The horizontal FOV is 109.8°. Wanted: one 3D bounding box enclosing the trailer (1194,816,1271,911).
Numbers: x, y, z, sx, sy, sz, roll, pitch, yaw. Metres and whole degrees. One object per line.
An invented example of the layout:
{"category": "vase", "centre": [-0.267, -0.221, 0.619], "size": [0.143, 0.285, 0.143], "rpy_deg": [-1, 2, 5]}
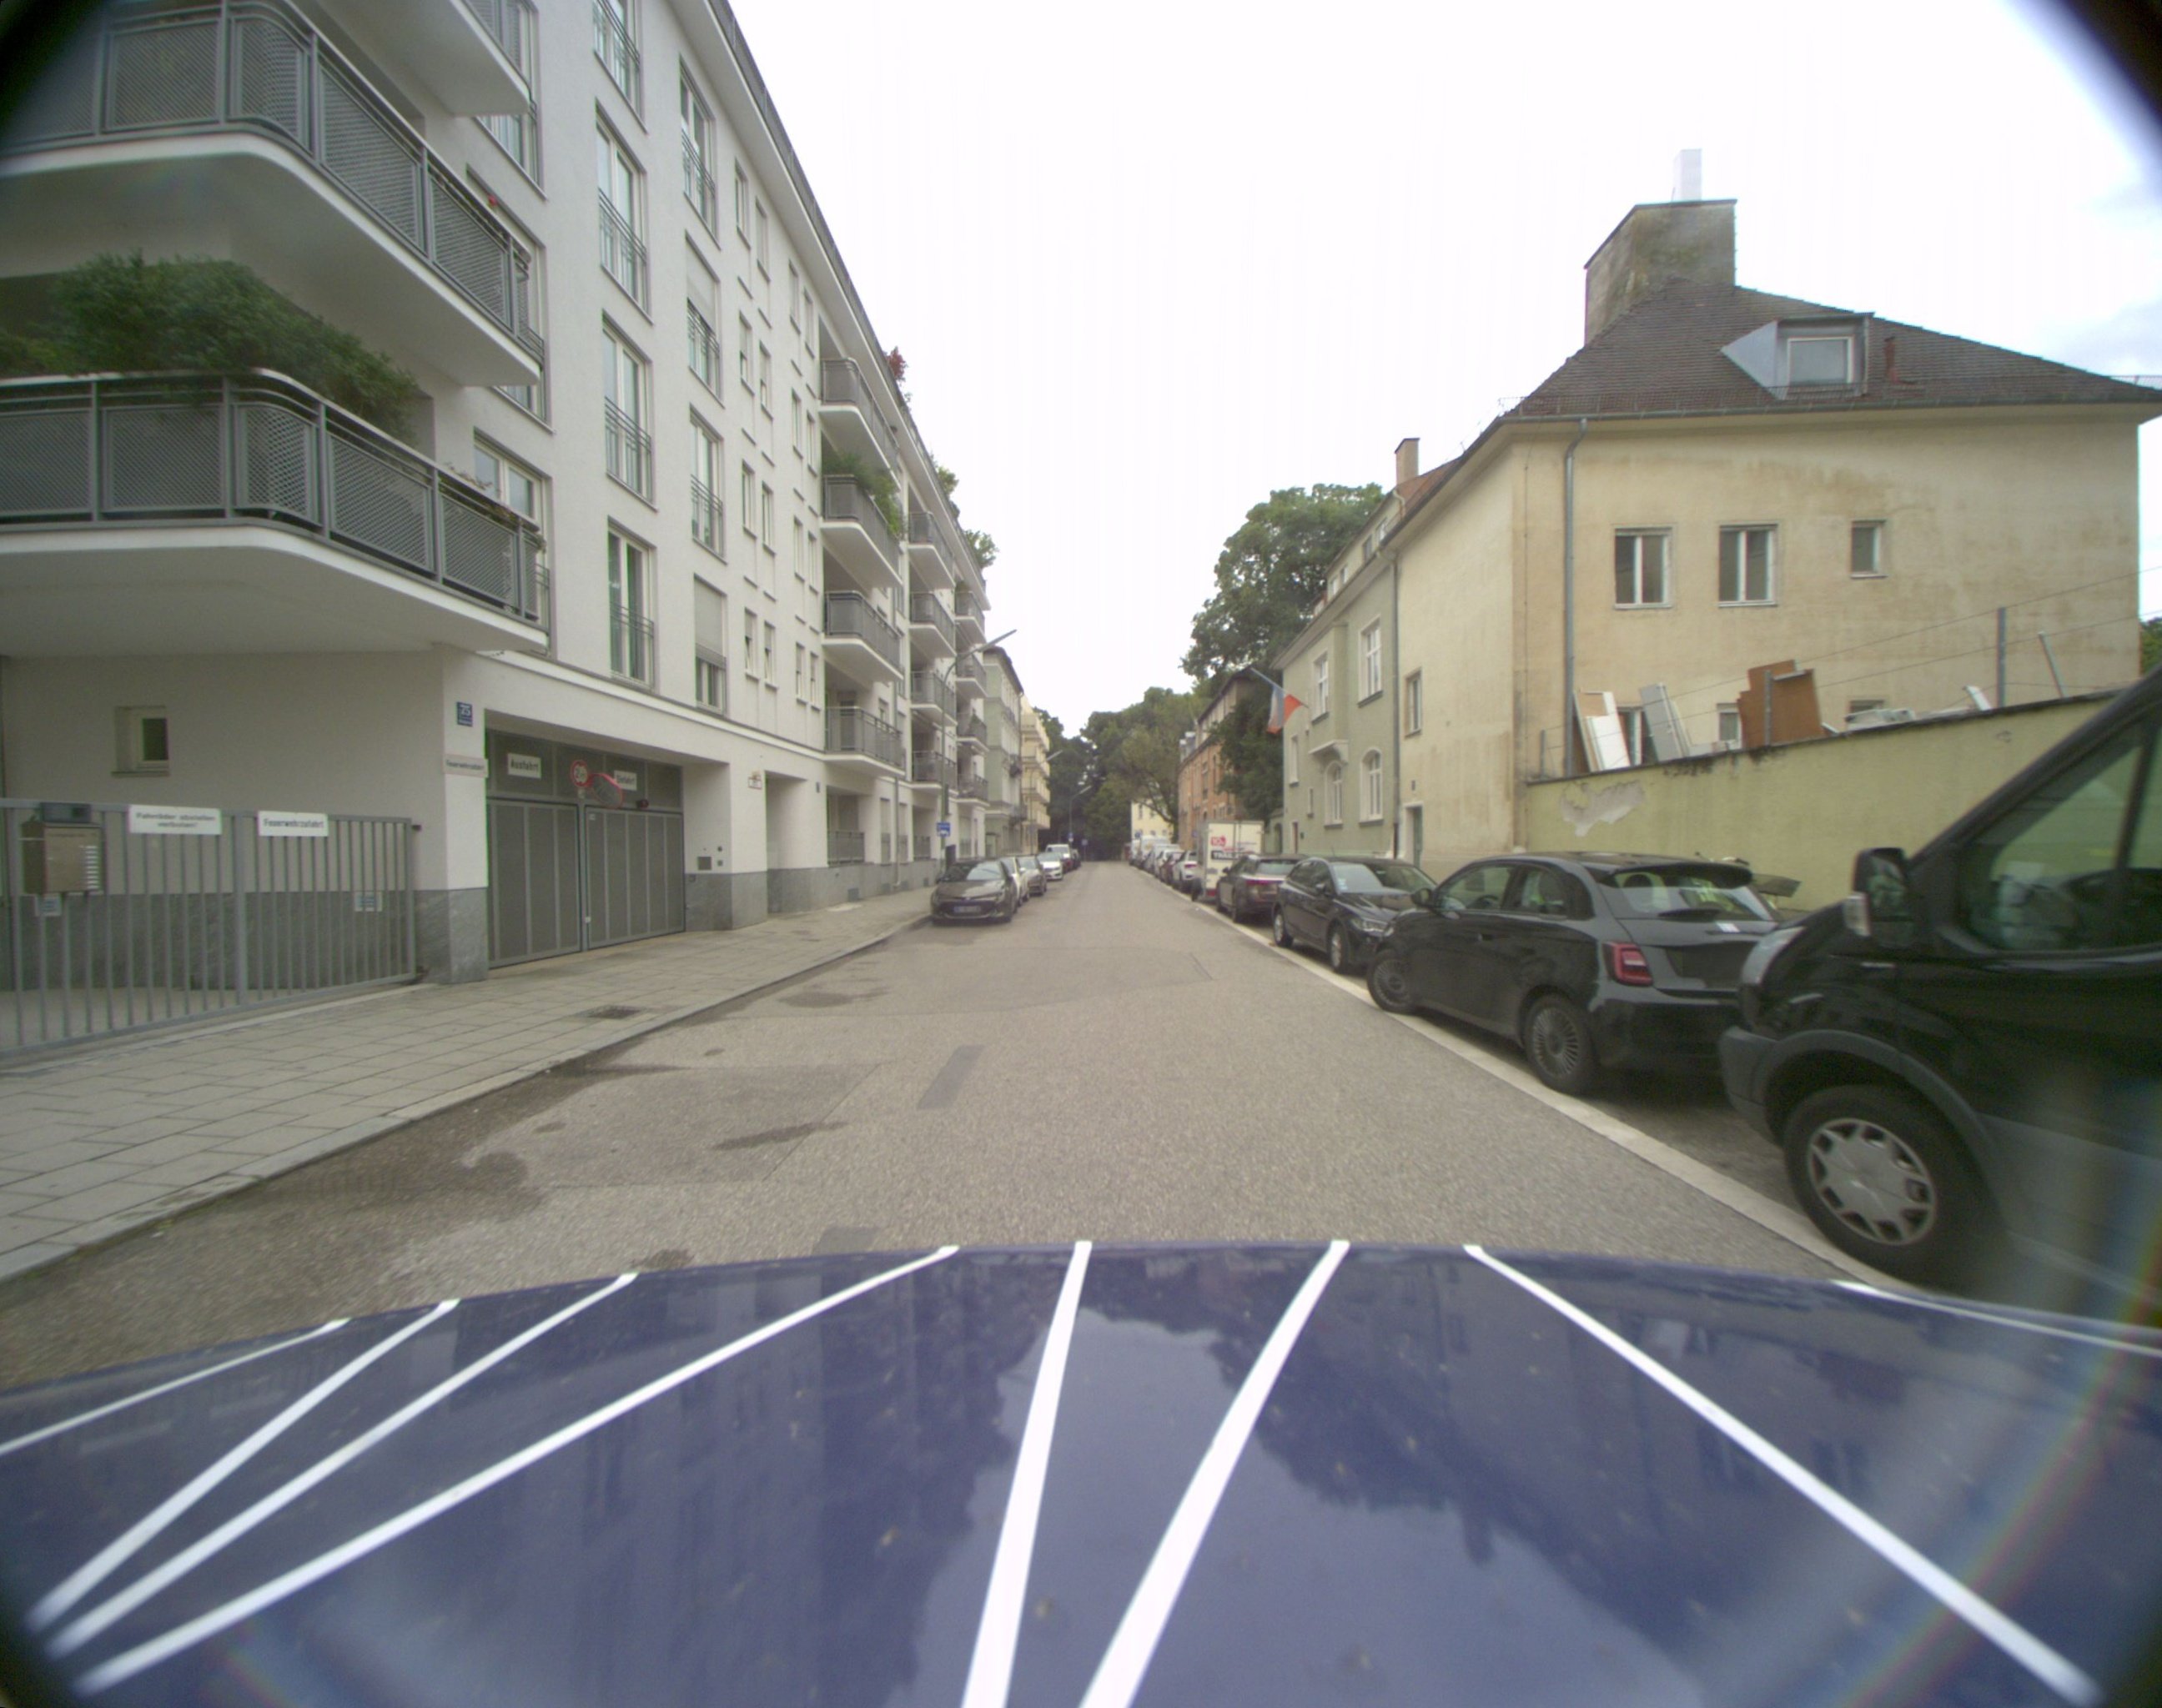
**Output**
{"category": "trailer", "centre": [4.397, 0.243, 22.546], "size": [1.817, 2.521, 3.390], "rpy_deg": [3, 1, 6]}

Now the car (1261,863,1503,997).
{"category": "car", "centre": [3.893, 0.882, 10.640], "size": [1.697, 1.417, 4.069], "rpy_deg": [0, 1, -1]}

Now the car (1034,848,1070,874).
{"category": "car", "centre": [-1.704, 0.395, 46.069], "size": [1.765, 1.449, 3.748], "rpy_deg": [-1, 1, 4]}

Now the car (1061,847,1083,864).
{"category": "car", "centre": [-0.796, 0.128, 70.509], "size": [1.871, 1.455, 4.268], "rpy_deg": [-1, 1, 2]}

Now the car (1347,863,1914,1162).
{"category": "car", "centre": [3.608, 0.873, 5.855], "size": [1.706, 1.485, 3.488], "rpy_deg": [-1, 1, -4]}

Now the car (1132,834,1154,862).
{"category": "car", "centre": [5.803, -0.543, 71.681], "size": [1.880, 2.539, 4.370], "rpy_deg": [-1, 1, 3]}

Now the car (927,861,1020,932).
{"category": "car", "centre": [-2.455, 0.918, 18.298], "size": [1.784, 1.386, 4.245], "rpy_deg": [-1, 1, -2]}

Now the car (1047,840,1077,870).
{"category": "car", "centre": [-1.313, 0.027, 54.670], "size": [1.871, 2.002, 4.268], "rpy_deg": [-1, 1, 2]}

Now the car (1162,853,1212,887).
{"category": "car", "centre": [4.559, 0.654, 33.166], "size": [1.817, 1.339, 3.746], "rpy_deg": [-1, 1, 3]}

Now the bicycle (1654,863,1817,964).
{"category": "bicycle", "centre": [8.341, 0.709, 9.794], "size": [0.580, 1.125, 1.742], "rpy_deg": [-1, 1, -1]}

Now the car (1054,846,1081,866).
{"category": "car", "centre": [-1.006, 0.104, 59.796], "size": [1.871, 1.455, 4.268], "rpy_deg": [-1, 1, 2]}

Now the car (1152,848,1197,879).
{"category": "car", "centre": [4.768, 0.463, 39.132], "size": [1.818, 1.444, 3.927], "rpy_deg": [-1, 1, 0]}

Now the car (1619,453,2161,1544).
{"category": "car", "centre": [3.724, 0.360, 0.888], "size": [2.302, 2.630, 5.653], "rpy_deg": [0, 1, 2]}

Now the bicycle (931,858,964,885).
{"category": "bicycle", "centre": [-5.616, 0.724, 32.134], "size": [0.580, 1.008, 1.955], "rpy_deg": [-2, 1, 14]}

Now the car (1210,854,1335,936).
{"category": "car", "centre": [4.068, 0.790, 16.923], "size": [1.817, 1.491, 4.643], "rpy_deg": [0, 1, 3]}

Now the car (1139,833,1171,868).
{"category": "car", "centre": [5.317, -0.258, 55.301], "size": [2.104, 2.418, 4.549], "rpy_deg": [-1, 1, 3]}

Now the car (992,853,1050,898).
{"category": "car", "centre": [-2.134, 0.720, 27.755], "size": [1.766, 1.449, 3.747], "rpy_deg": [-1, 1, 0]}

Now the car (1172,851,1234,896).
{"category": "car", "centre": [4.408, 0.652, 28.011], "size": [1.767, 1.505, 3.842], "rpy_deg": [0, 1, 1]}

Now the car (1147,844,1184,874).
{"category": "car", "centre": [4.953, 0.258, 44.988], "size": [1.817, 1.724, 3.649], "rpy_deg": [-1, 1, 2]}

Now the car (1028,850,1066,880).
{"category": "car", "centre": [-1.719, 0.531, 39.541], "size": [1.766, 1.449, 3.747], "rpy_deg": [-1, 1, 0]}

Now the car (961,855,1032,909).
{"category": "car", "centre": [-2.525, 0.812, 23.412], "size": [1.766, 1.449, 3.417], "rpy_deg": [-1, 1, 0]}
